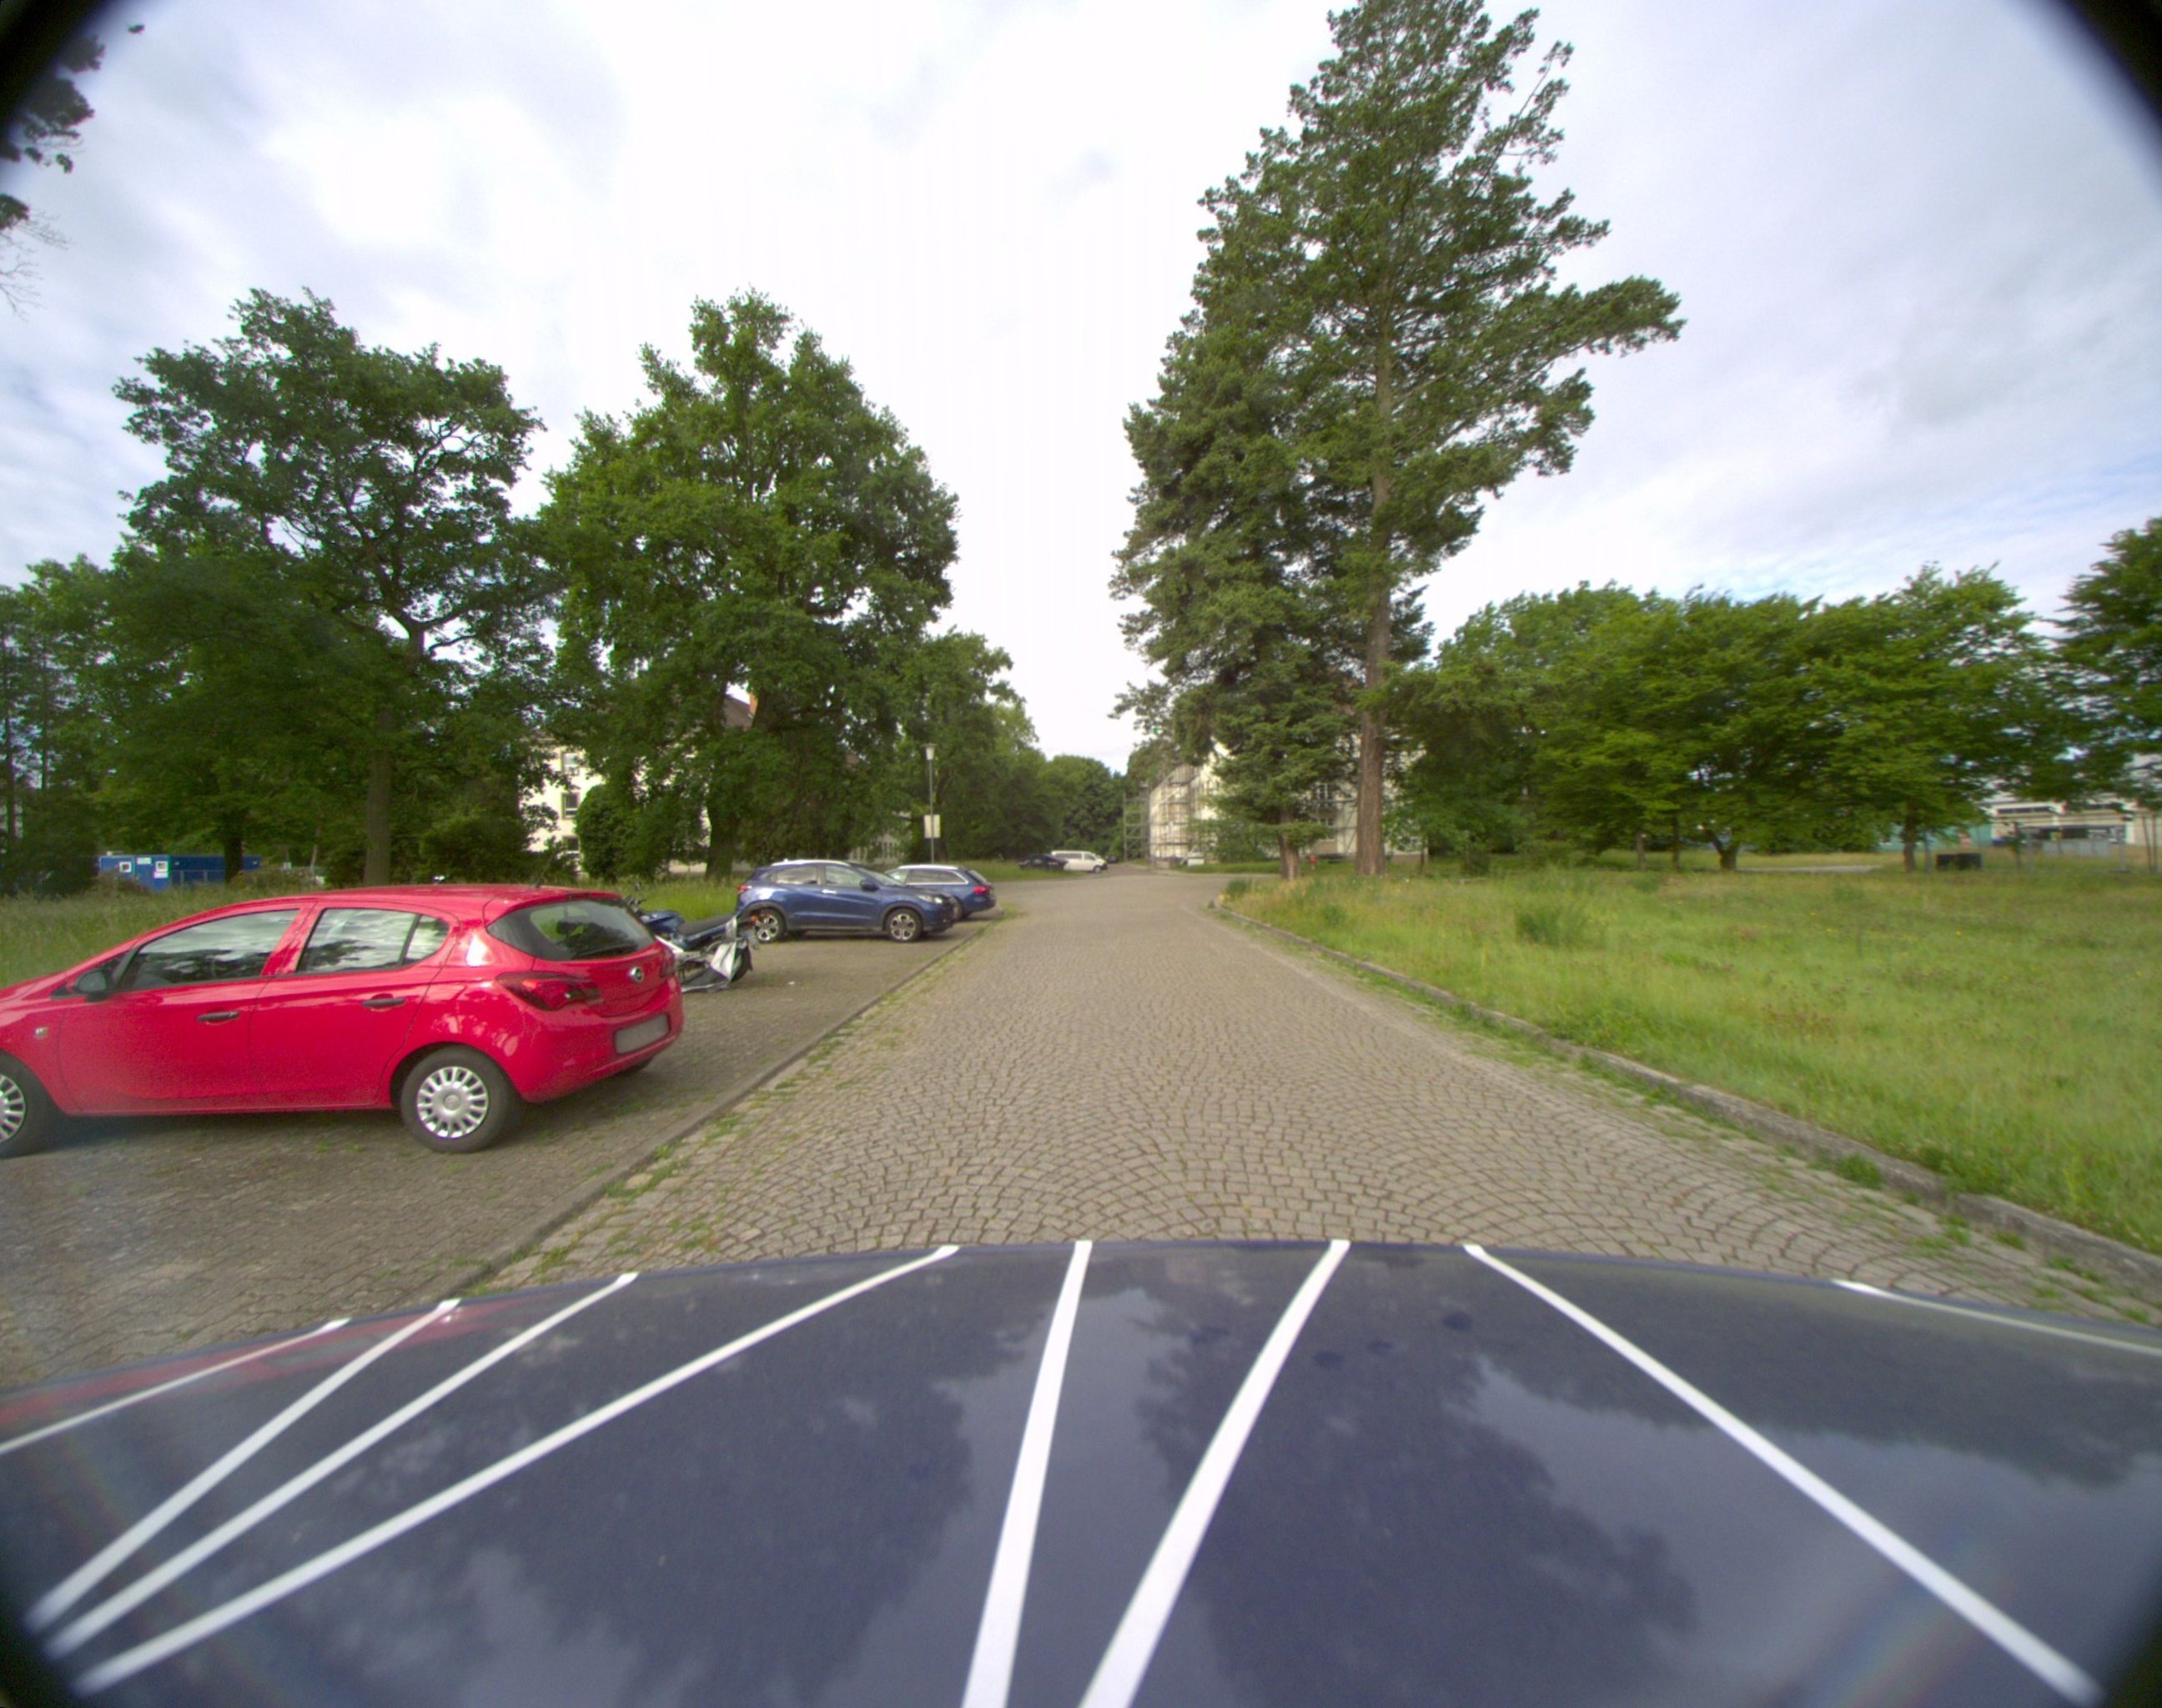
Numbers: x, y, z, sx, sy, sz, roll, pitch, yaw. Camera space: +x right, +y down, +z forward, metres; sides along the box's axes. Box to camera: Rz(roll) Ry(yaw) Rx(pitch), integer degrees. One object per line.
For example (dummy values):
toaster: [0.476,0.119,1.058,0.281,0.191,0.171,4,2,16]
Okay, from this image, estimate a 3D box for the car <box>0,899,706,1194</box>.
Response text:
car: [-4.809,1.082,4.937,3.835,1.452,1.779,0,1,0]

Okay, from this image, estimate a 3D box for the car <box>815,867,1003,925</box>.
car: [-4.401,1.068,19.865,4.480,1.413,1.785,0,0,3]

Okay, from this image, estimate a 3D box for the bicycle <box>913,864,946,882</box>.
bicycle: [-9.982,1.236,50.019,1.976,1.070,0.587,-2,1,-27]

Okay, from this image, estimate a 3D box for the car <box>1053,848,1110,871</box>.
car: [0.008,0.501,68.701,5.101,2.007,2.054,0,1,-1]

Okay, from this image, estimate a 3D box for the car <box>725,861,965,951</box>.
car: [-4.571,0.986,15.166,4.172,1.563,1.793,-1,1,0]

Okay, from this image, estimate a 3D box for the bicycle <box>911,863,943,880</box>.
bicycle: [-10.554,1.193,52.125,2.032,1.070,0.620,-2,1,-23]

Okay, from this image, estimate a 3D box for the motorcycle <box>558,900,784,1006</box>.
motorcycle: [-5.034,1.207,9.451,2.333,1.179,0.795,-1,1,-2]

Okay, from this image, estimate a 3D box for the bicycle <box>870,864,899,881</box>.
bicycle: [-13.722,1.267,53.162,1.859,1.116,0.620,-2,1,-23]

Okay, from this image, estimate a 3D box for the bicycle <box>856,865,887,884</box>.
bicycle: [-13.579,1.302,49.283,1.859,1.116,0.620,-2,1,-23]
